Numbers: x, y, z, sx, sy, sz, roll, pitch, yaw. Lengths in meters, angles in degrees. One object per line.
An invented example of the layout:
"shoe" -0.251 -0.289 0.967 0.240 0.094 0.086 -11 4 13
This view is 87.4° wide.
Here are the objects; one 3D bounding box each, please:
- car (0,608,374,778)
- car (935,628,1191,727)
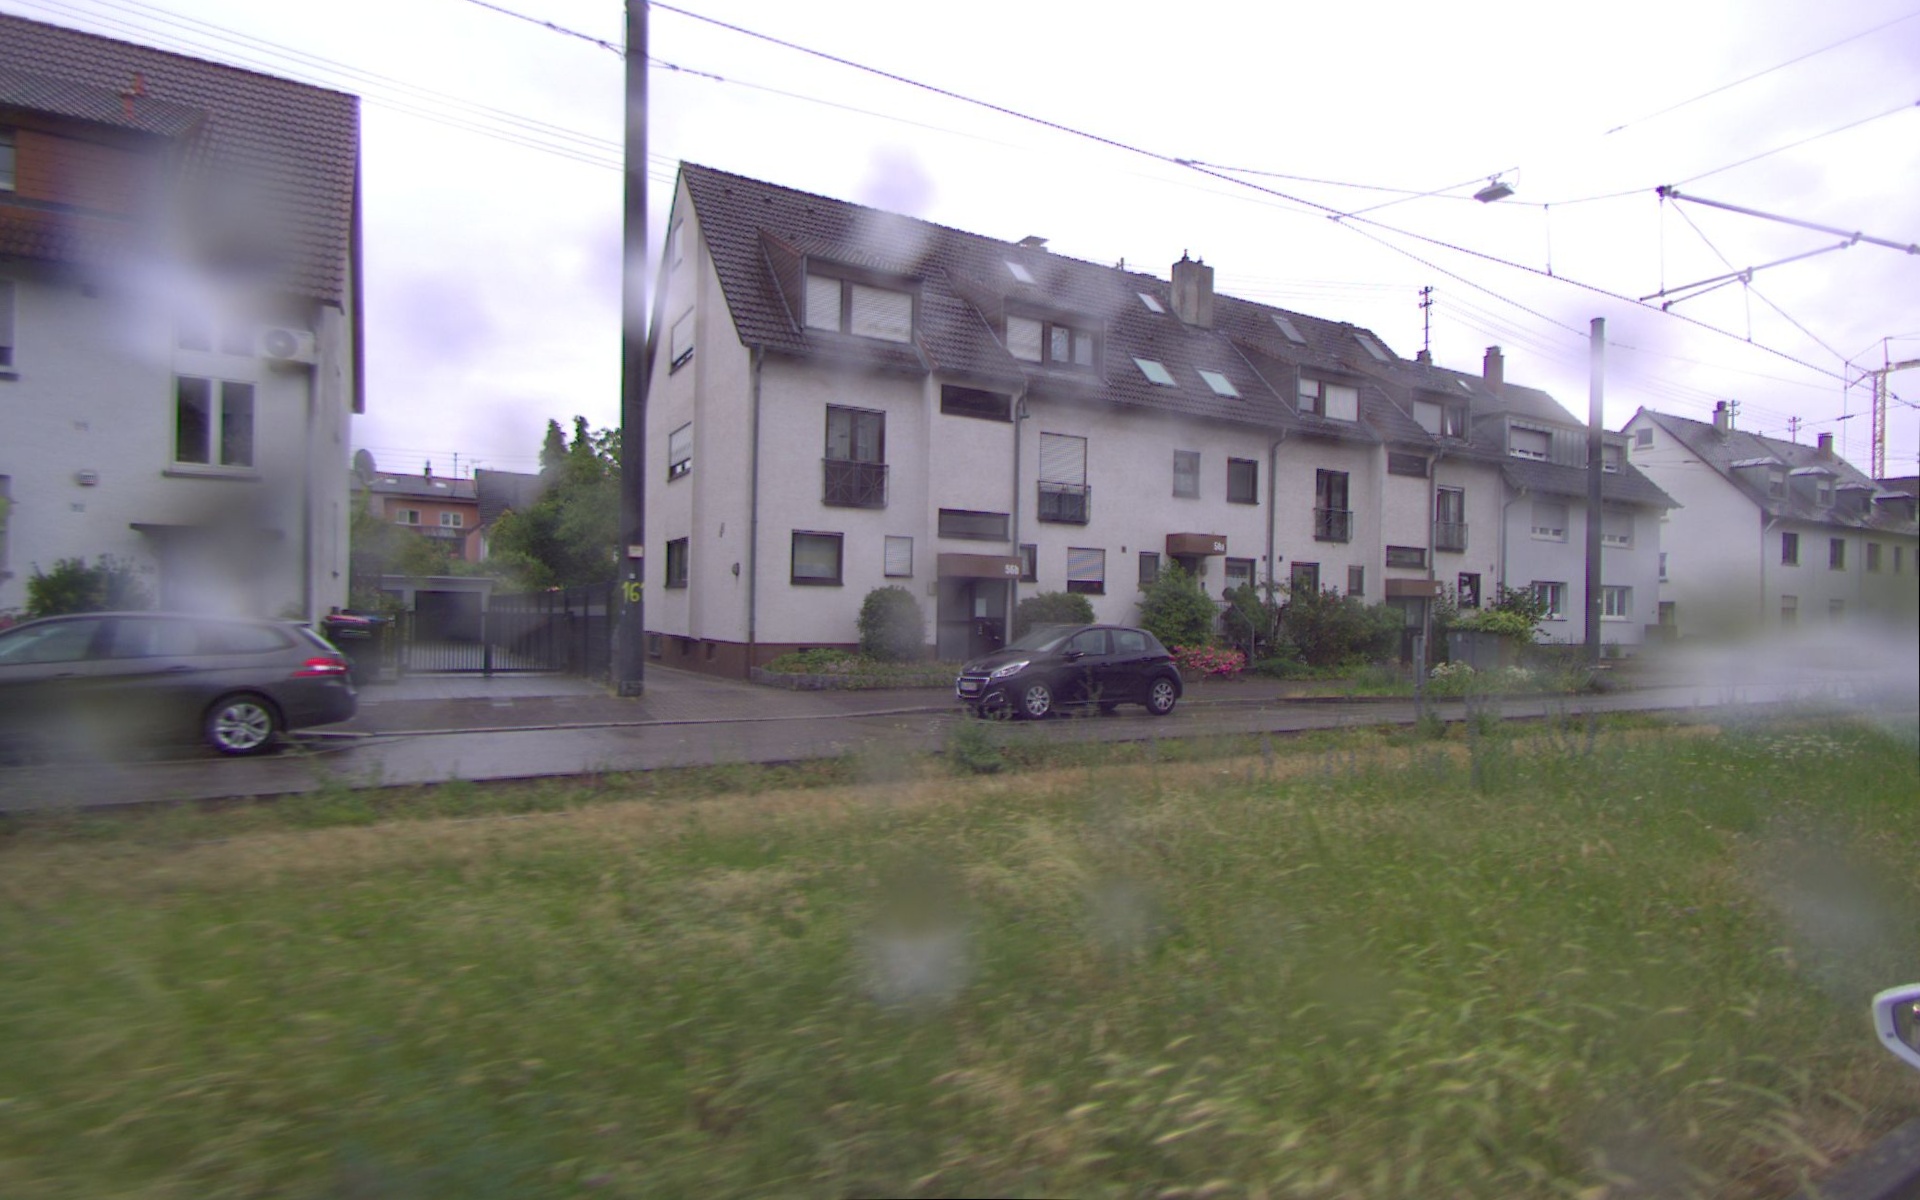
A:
"car" -8.763 0.886 10.316 4.701 1.552 1.877 2 -2 -31
"car" 1.708 1.194 16.449 3.890 1.445 1.765 1 -2 -30
